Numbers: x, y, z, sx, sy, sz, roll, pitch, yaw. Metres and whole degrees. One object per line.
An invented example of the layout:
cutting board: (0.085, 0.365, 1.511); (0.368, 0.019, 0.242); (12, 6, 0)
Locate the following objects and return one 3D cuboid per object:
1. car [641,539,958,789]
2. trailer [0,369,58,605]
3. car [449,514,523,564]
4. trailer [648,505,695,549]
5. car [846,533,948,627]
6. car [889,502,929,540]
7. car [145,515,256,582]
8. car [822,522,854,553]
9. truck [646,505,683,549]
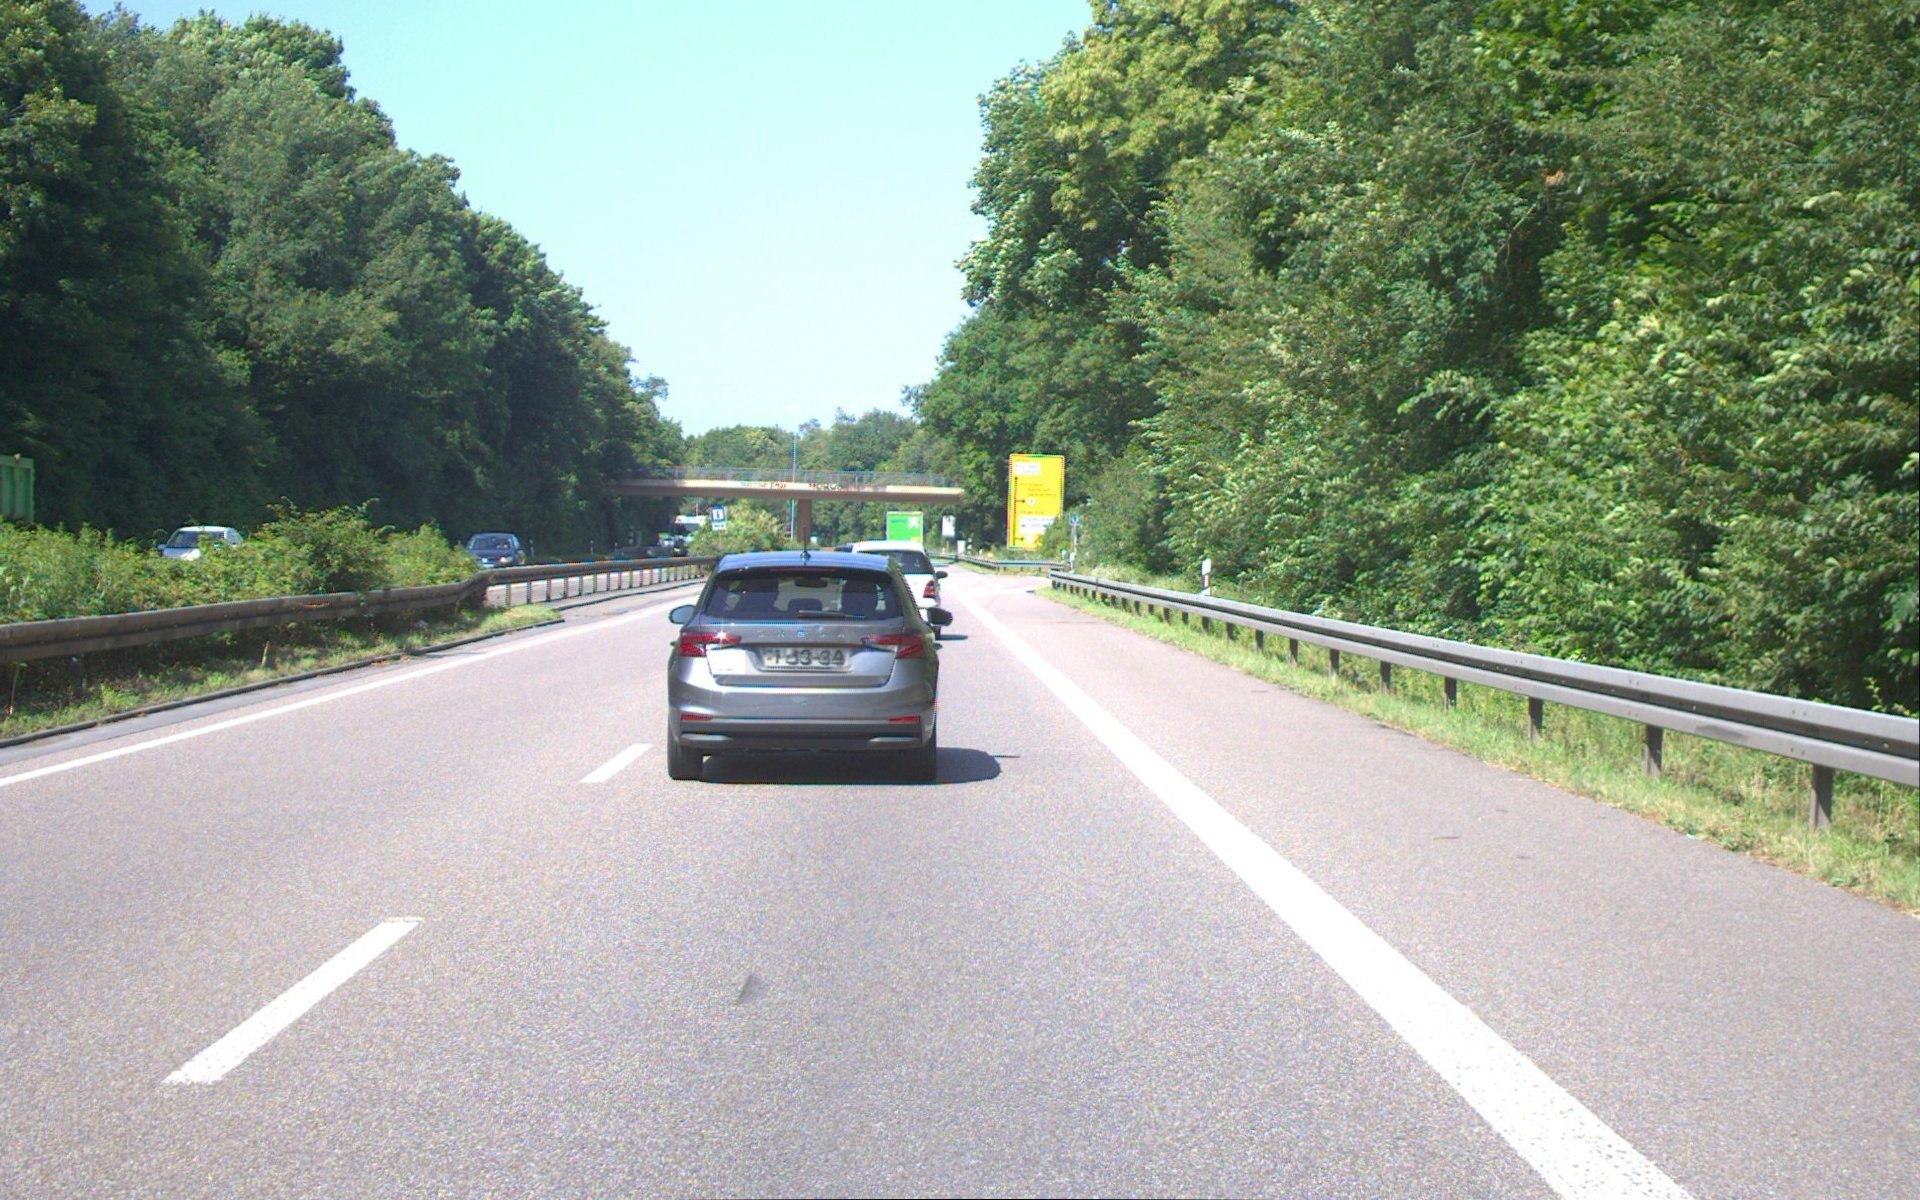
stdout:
car: (-0.973, 0.354, 22.583); (1.840, 1.467, 3.623); (1, 1, 1)
trailer: (-16.423, -1.774, 53.528); (2.688, 3.699, 7.984); (1, 1, 0)
car: (-14.390, -1.853, 104.475); (1.672, 1.468, 3.623); (1, 1, 1)
trailer: (-22.003, -5.535, 263.091); (2.492, 3.224, 14.432); (1, 1, 0)
car: (-0.998, -0.346, 55.488); (1.522, 1.441, 3.340); (1, 1, 1)
car: (-3.599, -5.555, 242.616); (2.748, 2.645, 4.000); (1, 1, -1)
car: (-17.285, -1.179, 78.354); (1.672, 1.468, 3.623); (1, 1, 1)
car: (-7.968, -4.096, 224.523); (1.993, 2.007, 4.000); (1, 1, -1)
truck: (-21.986, -5.438, 255.737); (2.425, 3.247, 4.000); (1, 1, 0)
